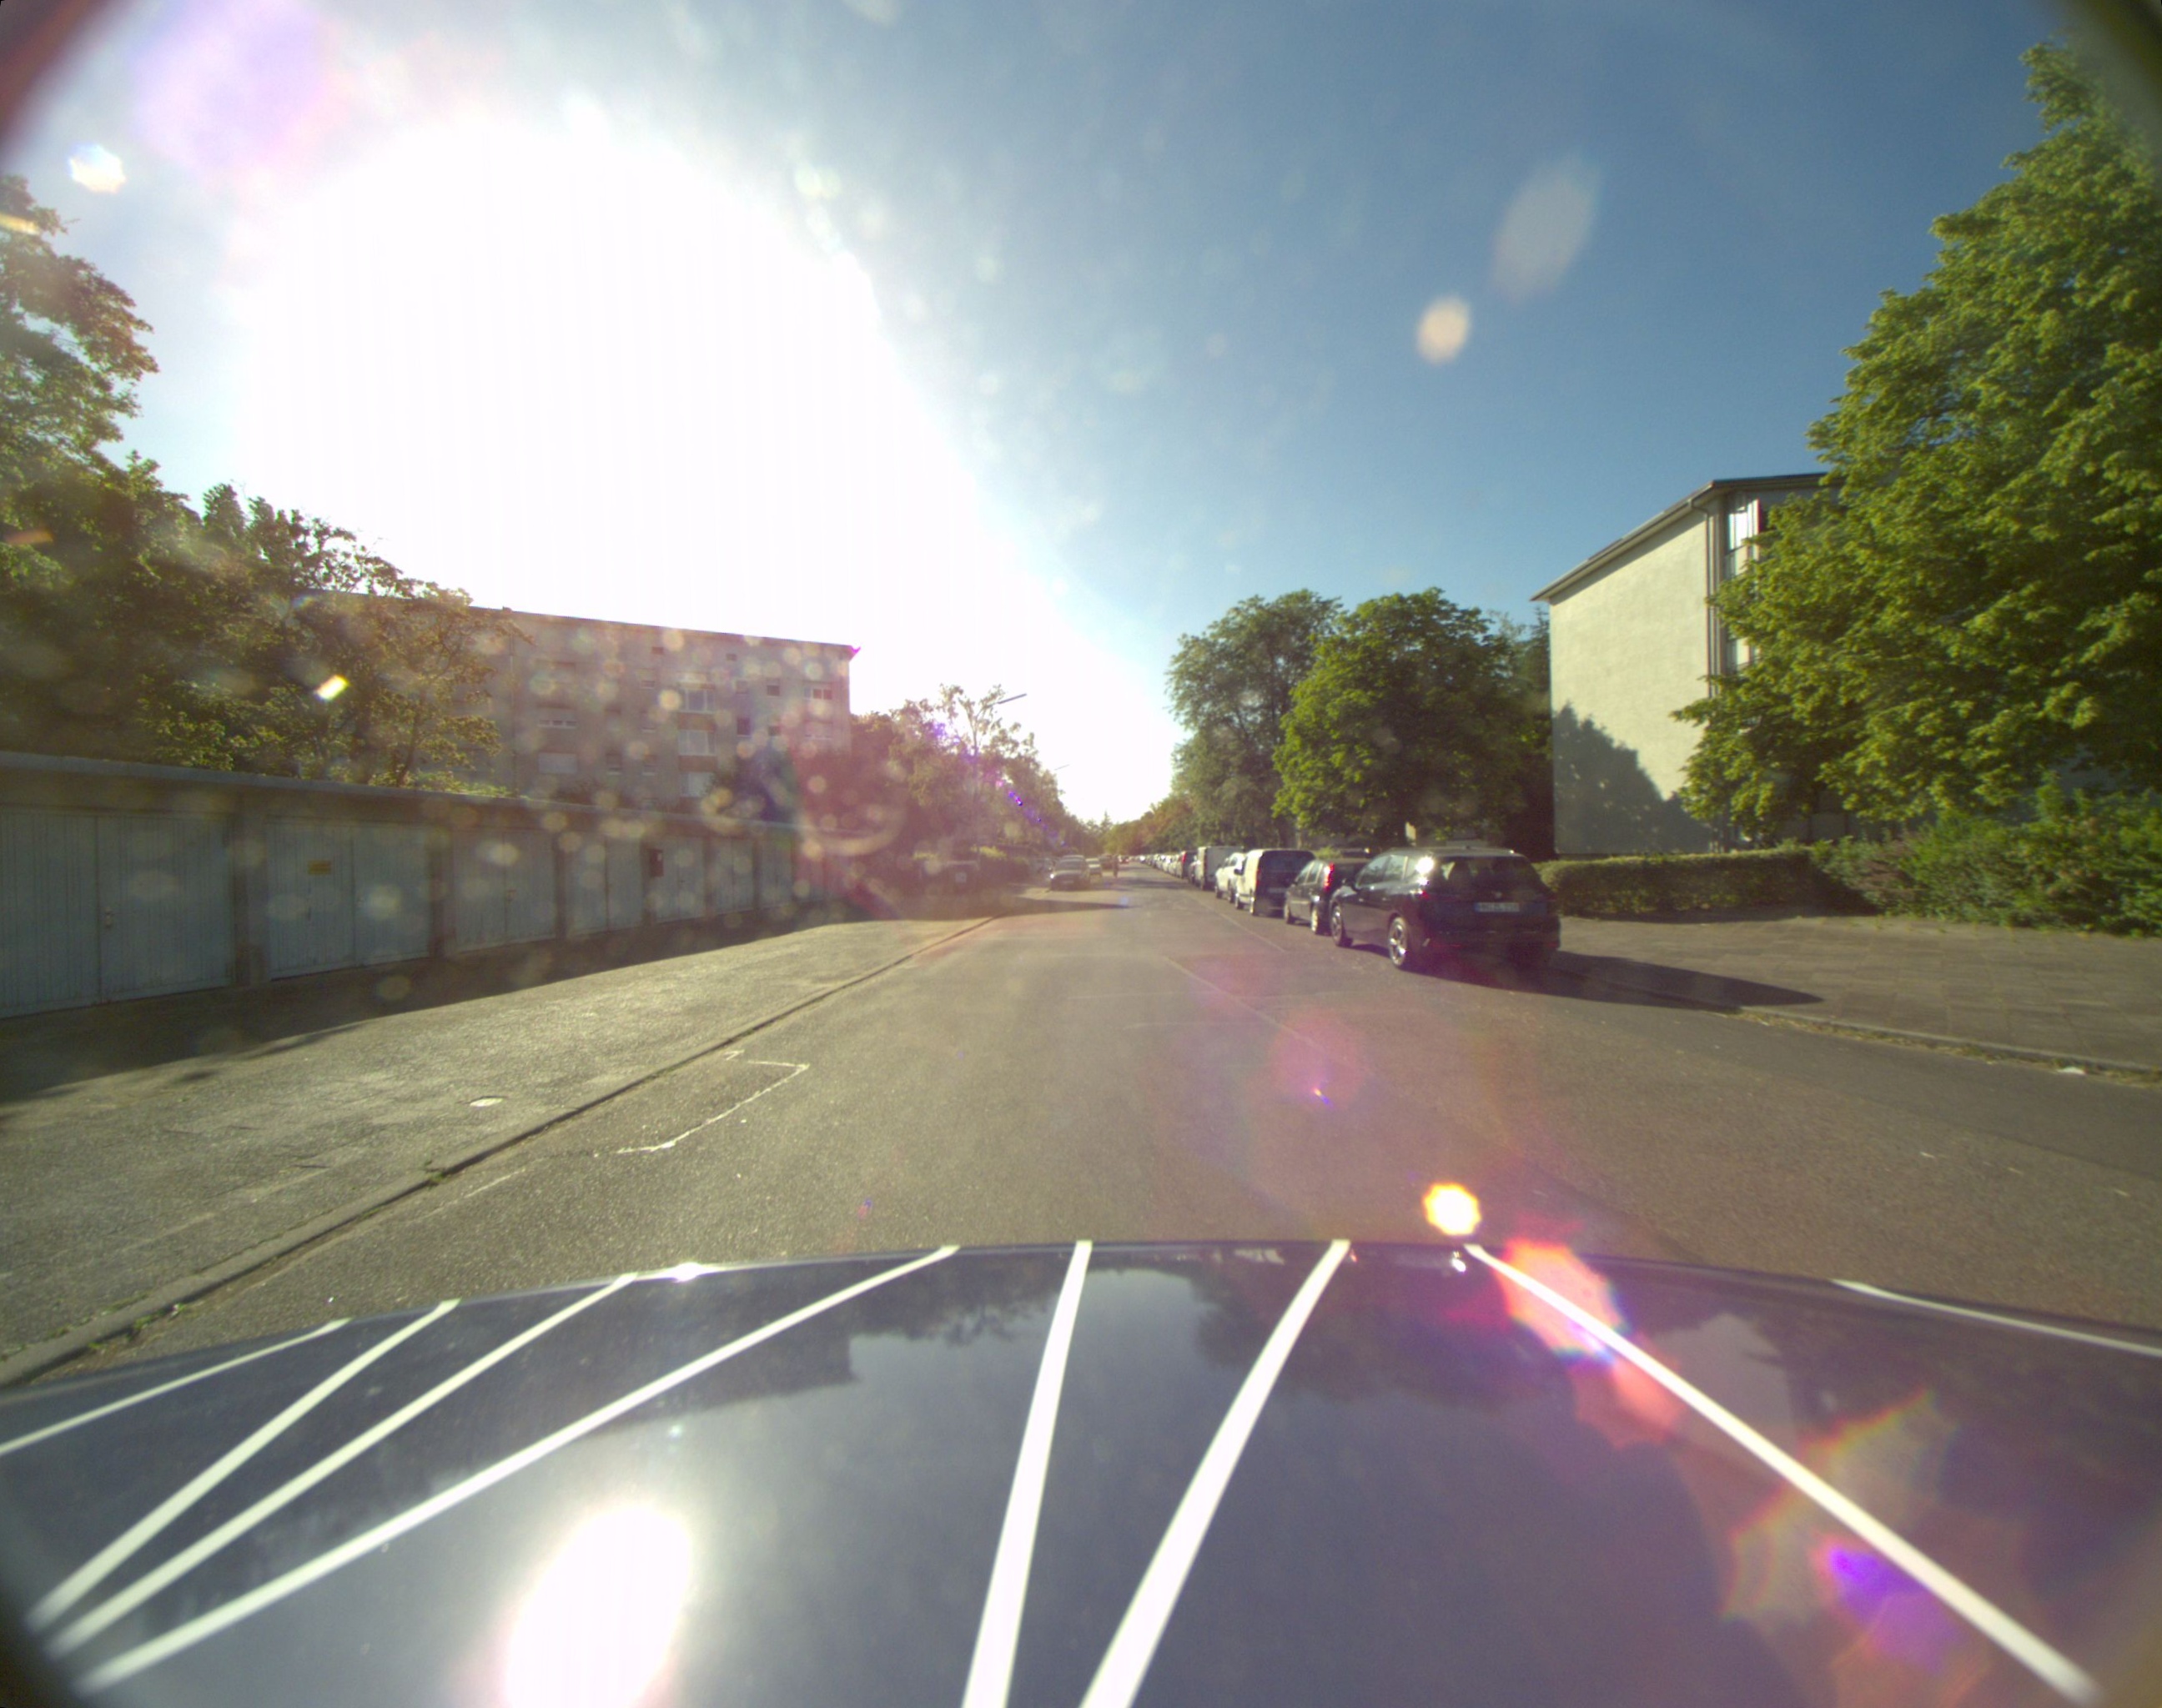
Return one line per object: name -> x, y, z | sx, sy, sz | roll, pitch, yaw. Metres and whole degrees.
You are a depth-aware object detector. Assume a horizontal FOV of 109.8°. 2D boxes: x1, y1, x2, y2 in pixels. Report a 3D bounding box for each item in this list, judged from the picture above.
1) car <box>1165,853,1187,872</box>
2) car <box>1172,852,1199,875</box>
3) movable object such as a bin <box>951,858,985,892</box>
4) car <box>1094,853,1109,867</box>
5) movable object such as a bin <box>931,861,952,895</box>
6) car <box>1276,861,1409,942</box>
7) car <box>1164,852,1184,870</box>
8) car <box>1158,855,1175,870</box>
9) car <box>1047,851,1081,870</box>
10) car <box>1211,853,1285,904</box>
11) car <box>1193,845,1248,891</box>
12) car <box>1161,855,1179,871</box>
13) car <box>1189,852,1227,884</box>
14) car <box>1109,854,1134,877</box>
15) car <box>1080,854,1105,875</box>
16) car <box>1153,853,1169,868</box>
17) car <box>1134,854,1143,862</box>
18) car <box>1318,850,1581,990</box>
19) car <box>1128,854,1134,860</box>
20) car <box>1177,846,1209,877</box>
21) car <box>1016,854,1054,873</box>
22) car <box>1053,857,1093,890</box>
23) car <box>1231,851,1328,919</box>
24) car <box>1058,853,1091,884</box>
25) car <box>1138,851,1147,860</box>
car -> 8.366, 0.702, 66.836 | 1.632, 1.619, 3.556 | 1, 0, 3
car -> 7.603, 0.690, 55.456 | 1.632, 1.619, 3.556 | 1, 0, 3
movable object such as a bin -> -4.950, 0.913, 33.398 | 1.277, 1.434, 1.180 | 0, 1, 1
car -> 2.624, 0.728, 94.634 | 1.732, 1.586, 3.813 | -3, 0, 3
movable object such as a bin -> -6.038, 1.010, 32.926 | 0.754, 1.434, 0.848 | 0, 1, 1
car -> 5.235, 0.874, 15.683 | 1.627, 1.428, 3.654 | 1, 0, 3
car -> 8.867, 0.665, 72.861 | 1.632, 1.619, 3.556 | 1, 0, 3
car -> 9.312, 0.878, 82.922 | 1.632, 1.619, 3.556 | 1, 0, 3
car -> -1.988, 0.739, 89.665 | 3.776, 2.002, 1.811 | -4, 1, 2
car -> 5.696, 0.779, 26.399 | 1.732, 1.630, 4.170 | 1, 0, 1
car -> 6.235, 0.599, 34.428 | 1.909, 1.930, 4.512 | 1, 0, 4
car -> 9.196, 0.928, 79.032 | 1.632, 1.619, 3.556 | 1, 0, 3
car -> 6.800, 0.701, 40.873 | 1.731, 1.630, 3.814 | 1, 0, 5
car -> 3.053, 0.857, 57.135 | 1.732, 1.586, 3.813 | -3, 0, 3
car -> 0.949, 0.797, 59.962 | 1.732, 1.586, 3.813 | -3, 0, 3
car -> 9.289, 0.728, 88.620 | 1.632, 1.619, 3.556 | 1, 0, 3
car -> 11.104, 0.795, 146.820 | 1.632, 1.619, 3.556 | 1, 0, 3
car -> 4.873, 0.755, 10.852 | 1.784, 1.564, 4.425 | -1, 0, 3
car -> 13.871, 0.774, 210.284 | 1.632, 1.629, 3.566 | 1, 0, 3
car -> 7.291, 0.489, 49.741 | 1.732, 1.941, 3.813 | 1, 0, 3
car -> -4.410, 0.921, 73.413 | 3.504, 1.499, 1.602 | -4, 1, -3
car -> -0.357, 0.916, 37.760 | 1.732, 1.462, 3.813 | -3, 0, 3
car -> 5.315, 0.765, 20.770 | 1.817, 1.672, 3.649 | 1, 0, 3
car -> -0.347, 0.841, 45.748 | 1.732, 1.743, 3.813 | -3, 0, 3
car -> 11.338, 0.355, 139.899 | 1.632, 1.619, 3.556 | 1, 0, 3
